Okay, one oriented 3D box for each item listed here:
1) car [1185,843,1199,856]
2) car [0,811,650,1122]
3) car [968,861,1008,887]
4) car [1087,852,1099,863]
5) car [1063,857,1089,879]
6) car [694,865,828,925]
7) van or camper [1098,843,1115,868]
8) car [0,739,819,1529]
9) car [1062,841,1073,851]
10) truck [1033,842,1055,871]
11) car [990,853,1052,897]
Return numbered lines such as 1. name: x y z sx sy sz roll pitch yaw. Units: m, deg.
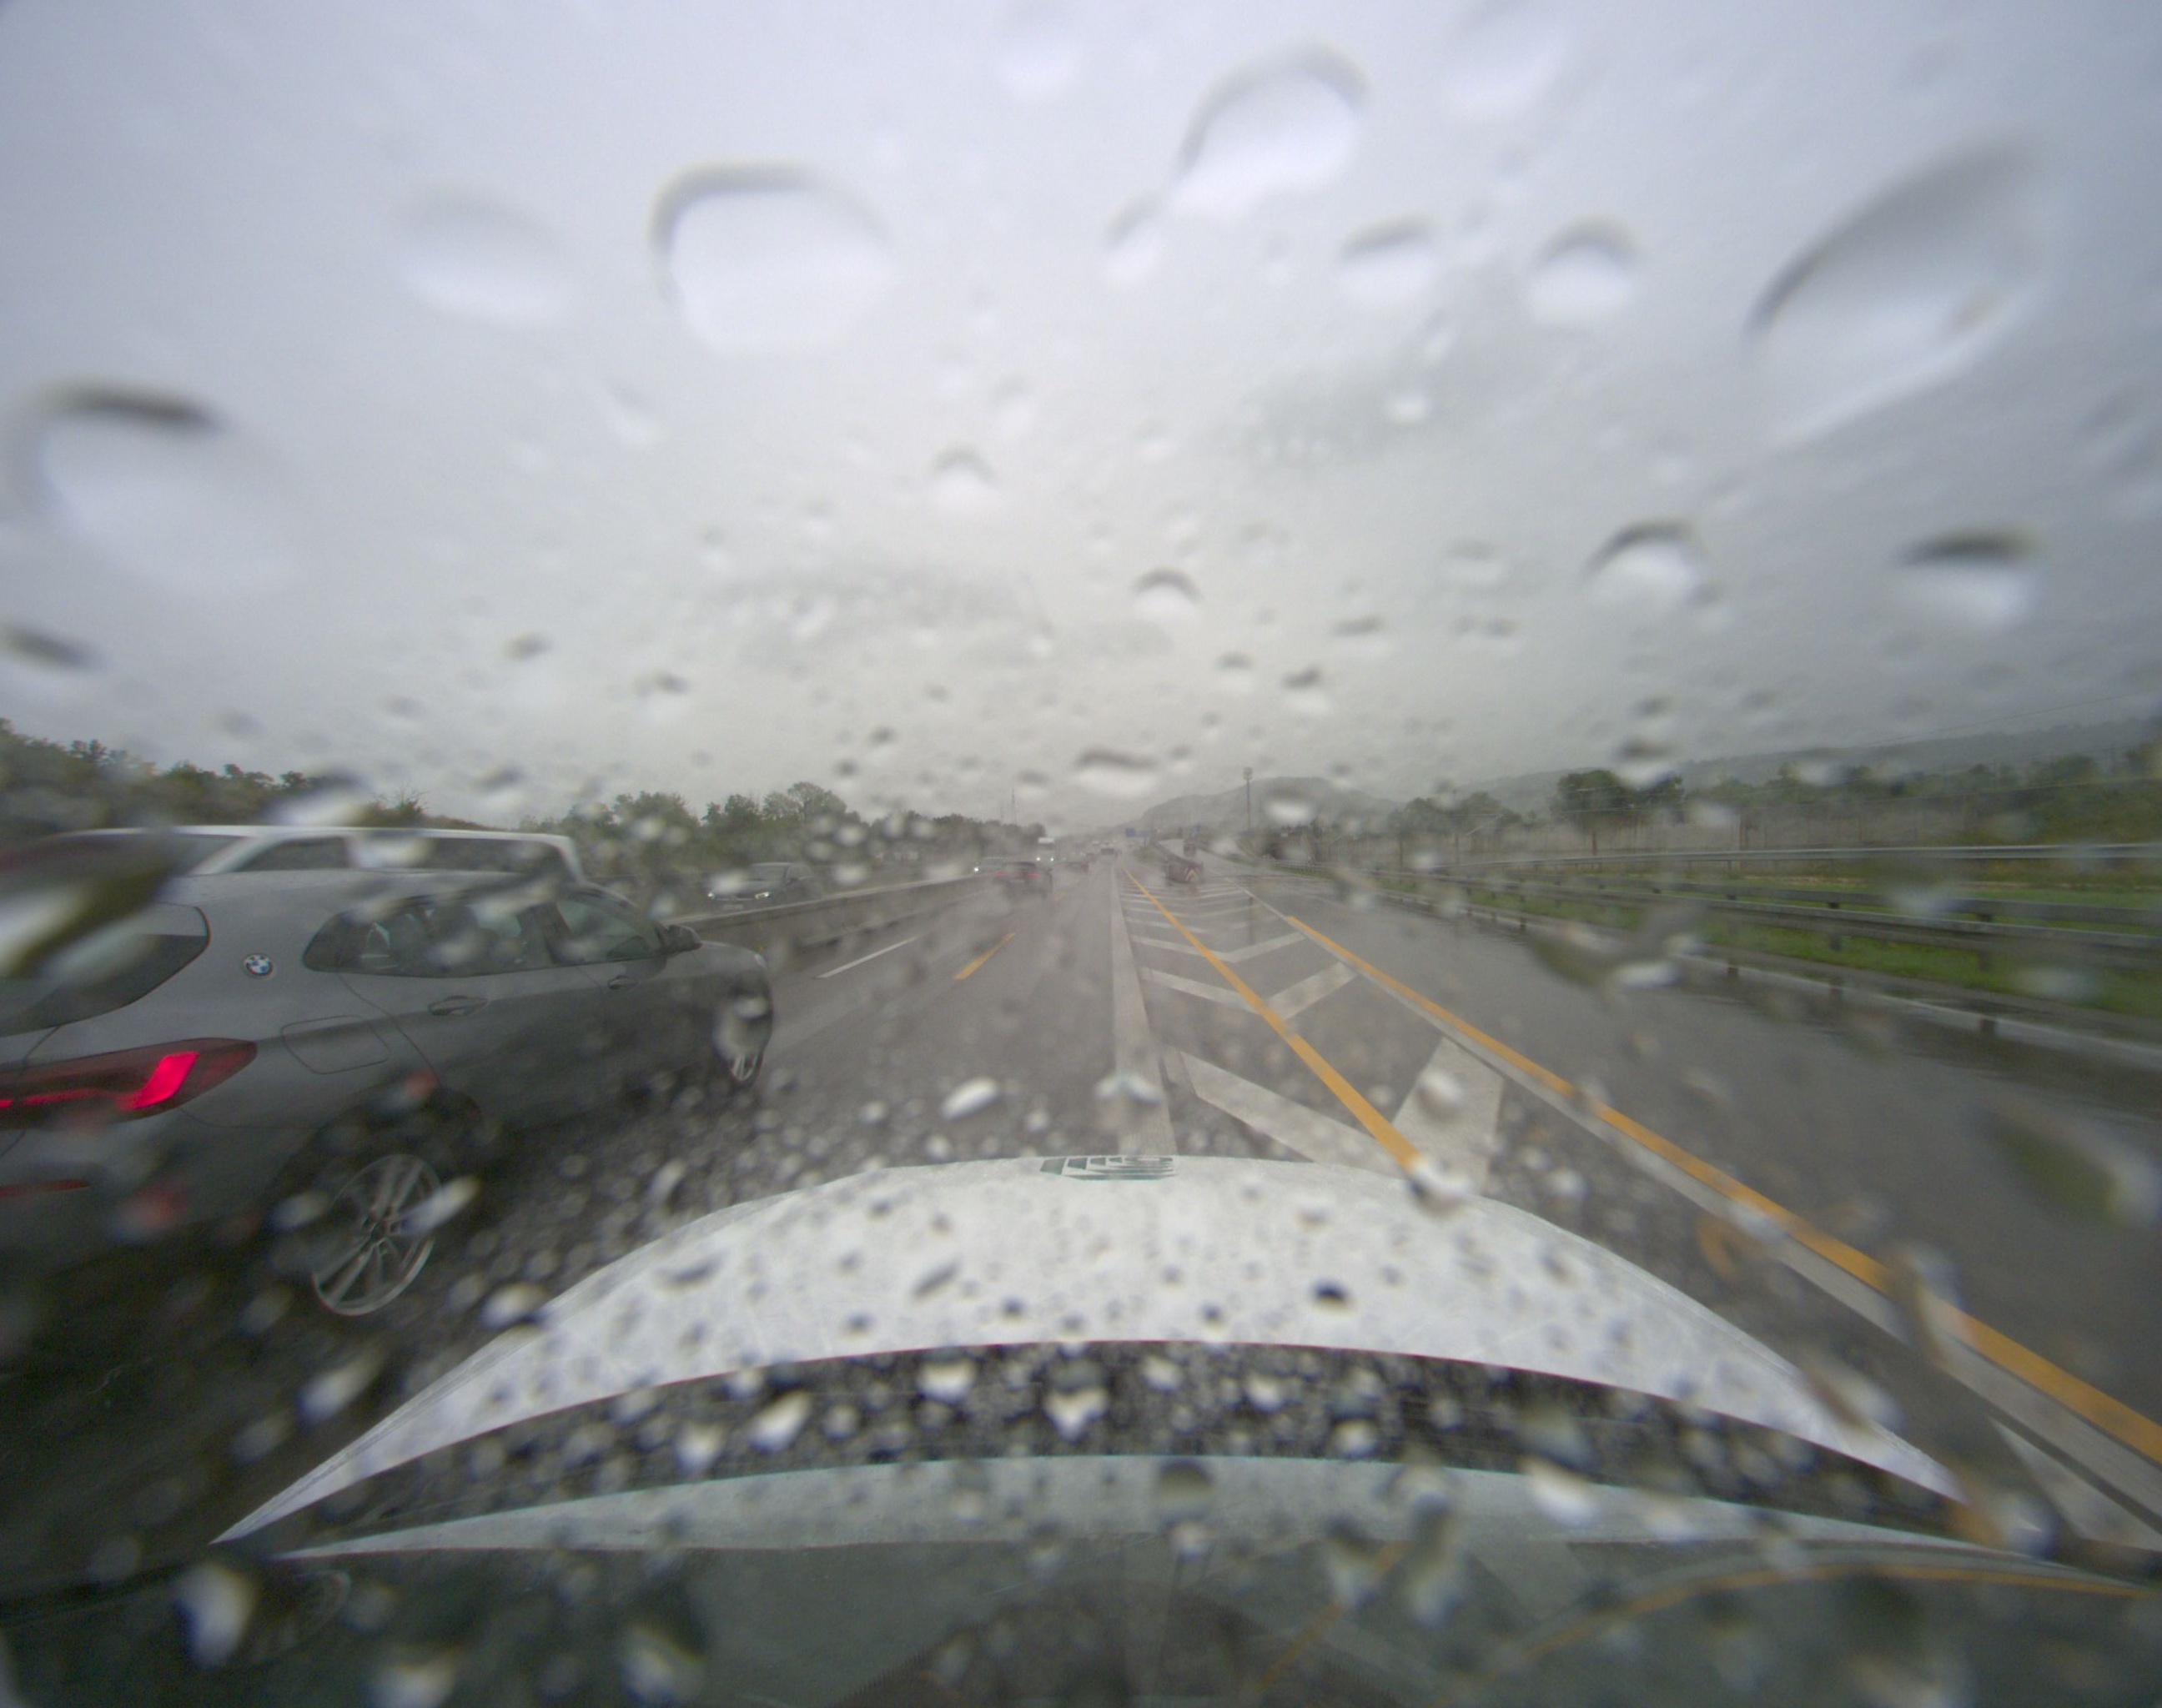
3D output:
1. car: 18.875 -0.725 138.493 1.986 2.142 4.001 0 -1 2
2. car: -6.423 0.742 7.673 1.937 1.969 4.937 -1 -1 2
3. car: -5.757 1.194 50.795 1.754 1.527 4.952 0 -1 2
4. car: 1.733 0.509 115.851 1.561 1.480 2.823 -3 -1 2
5. car: -0.368 1.102 63.929 1.837 1.491 4.264 -3 1 2
6. car: -8.733 1.060 22.704 1.754 1.460 4.699 0 -1 2
7. van or camper: 3.001 0.192 96.502 1.989 2.777 4.051 0 -1 2
8. car: -2.986 0.637 3.877 1.694 1.598 4.847 -3 -1 2
9. car: -3.668 -2.198 222.114 2.699 2.813 5.099 0 -1 3
10. truck: -5.599 0.428 124.496 2.697 4.277 6.753 0 -1 2
11. car: -2.138 0.744 30.088 1.837 1.491 4.263 0 -1 2
